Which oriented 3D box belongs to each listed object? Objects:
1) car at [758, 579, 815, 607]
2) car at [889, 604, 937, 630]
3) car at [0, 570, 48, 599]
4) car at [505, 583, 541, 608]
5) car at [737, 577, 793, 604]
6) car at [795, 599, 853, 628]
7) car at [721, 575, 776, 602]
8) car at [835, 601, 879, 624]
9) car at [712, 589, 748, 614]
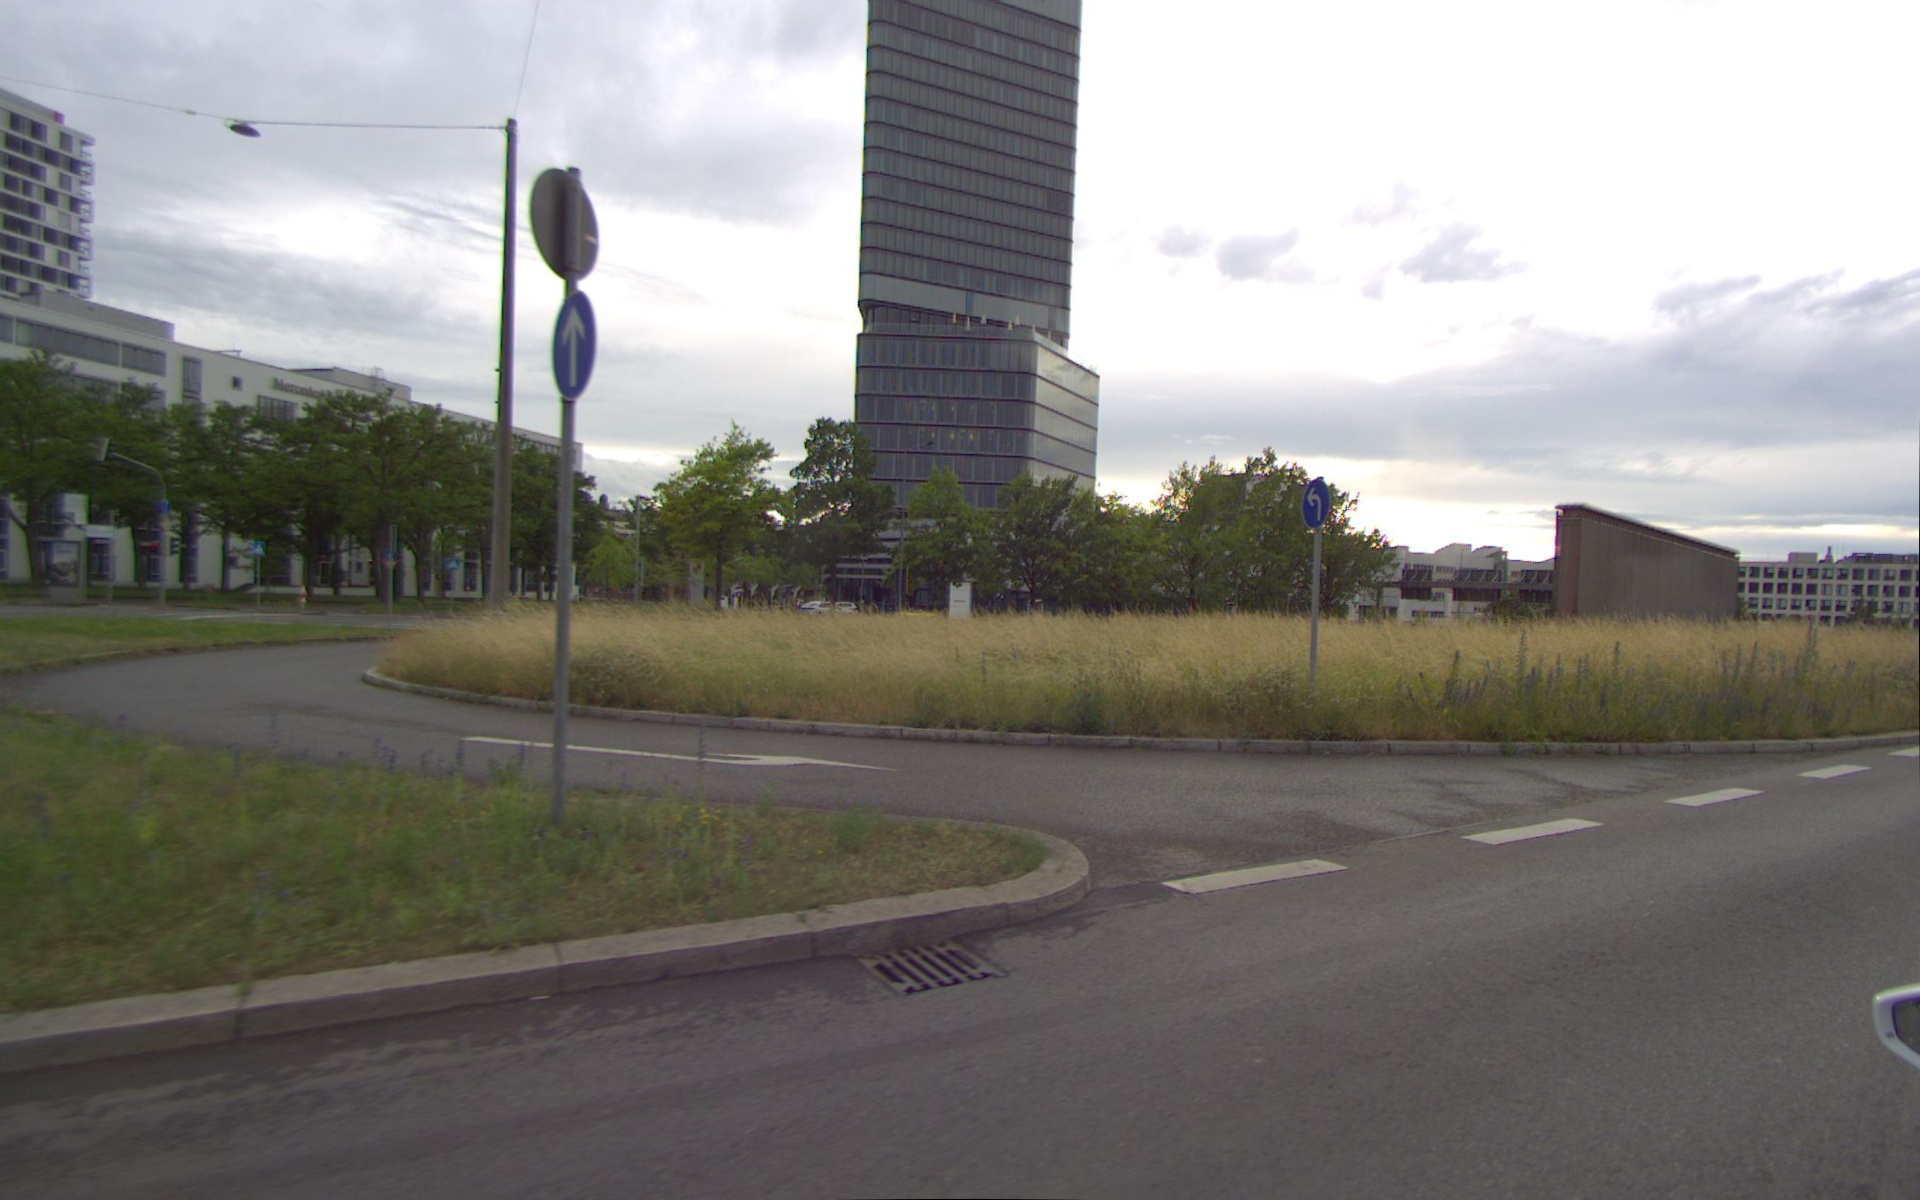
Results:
[{"bbox_3d":[-13.712,-0.550,79.310,3.972,2.041,1.974,1,3,-43],"label":"car"},{"bbox_3d":[-4.210,1.495,90.163,3.931,2.041,1.995,3,3,-13],"label":"car"},{"bbox_3d":[-62.051,-1.056,65.454,1.863,1.698,3.712,3,2,-1],"label":"car"},{"bbox_3d":[-37.162,-0.355,85.495,1.865,1.697,3.711,-2,-5,-8],"label":"car"},{"bbox_3d":[-15.795,-0.755,81.296,3.972,2.041,1.974,1,3,-43],"label":"car"},{"bbox_3d":[-10.493,1.042,77.465,3.973,2.041,1.974,1,3,-44],"label":"car"},{"bbox_3d":[-17.523,-0.938,83.249,3.972,2.041,1.974,1,3,-43],"label":"car"},{"bbox_3d":[-10.093,1.218,98.456,3.937,2.041,1.992,2,3,-18],"label":"car"},{"bbox_3d":[-19.772,0.109,86.435,1.960,1.874,4.000,3,2,2],"label":"car"}]
